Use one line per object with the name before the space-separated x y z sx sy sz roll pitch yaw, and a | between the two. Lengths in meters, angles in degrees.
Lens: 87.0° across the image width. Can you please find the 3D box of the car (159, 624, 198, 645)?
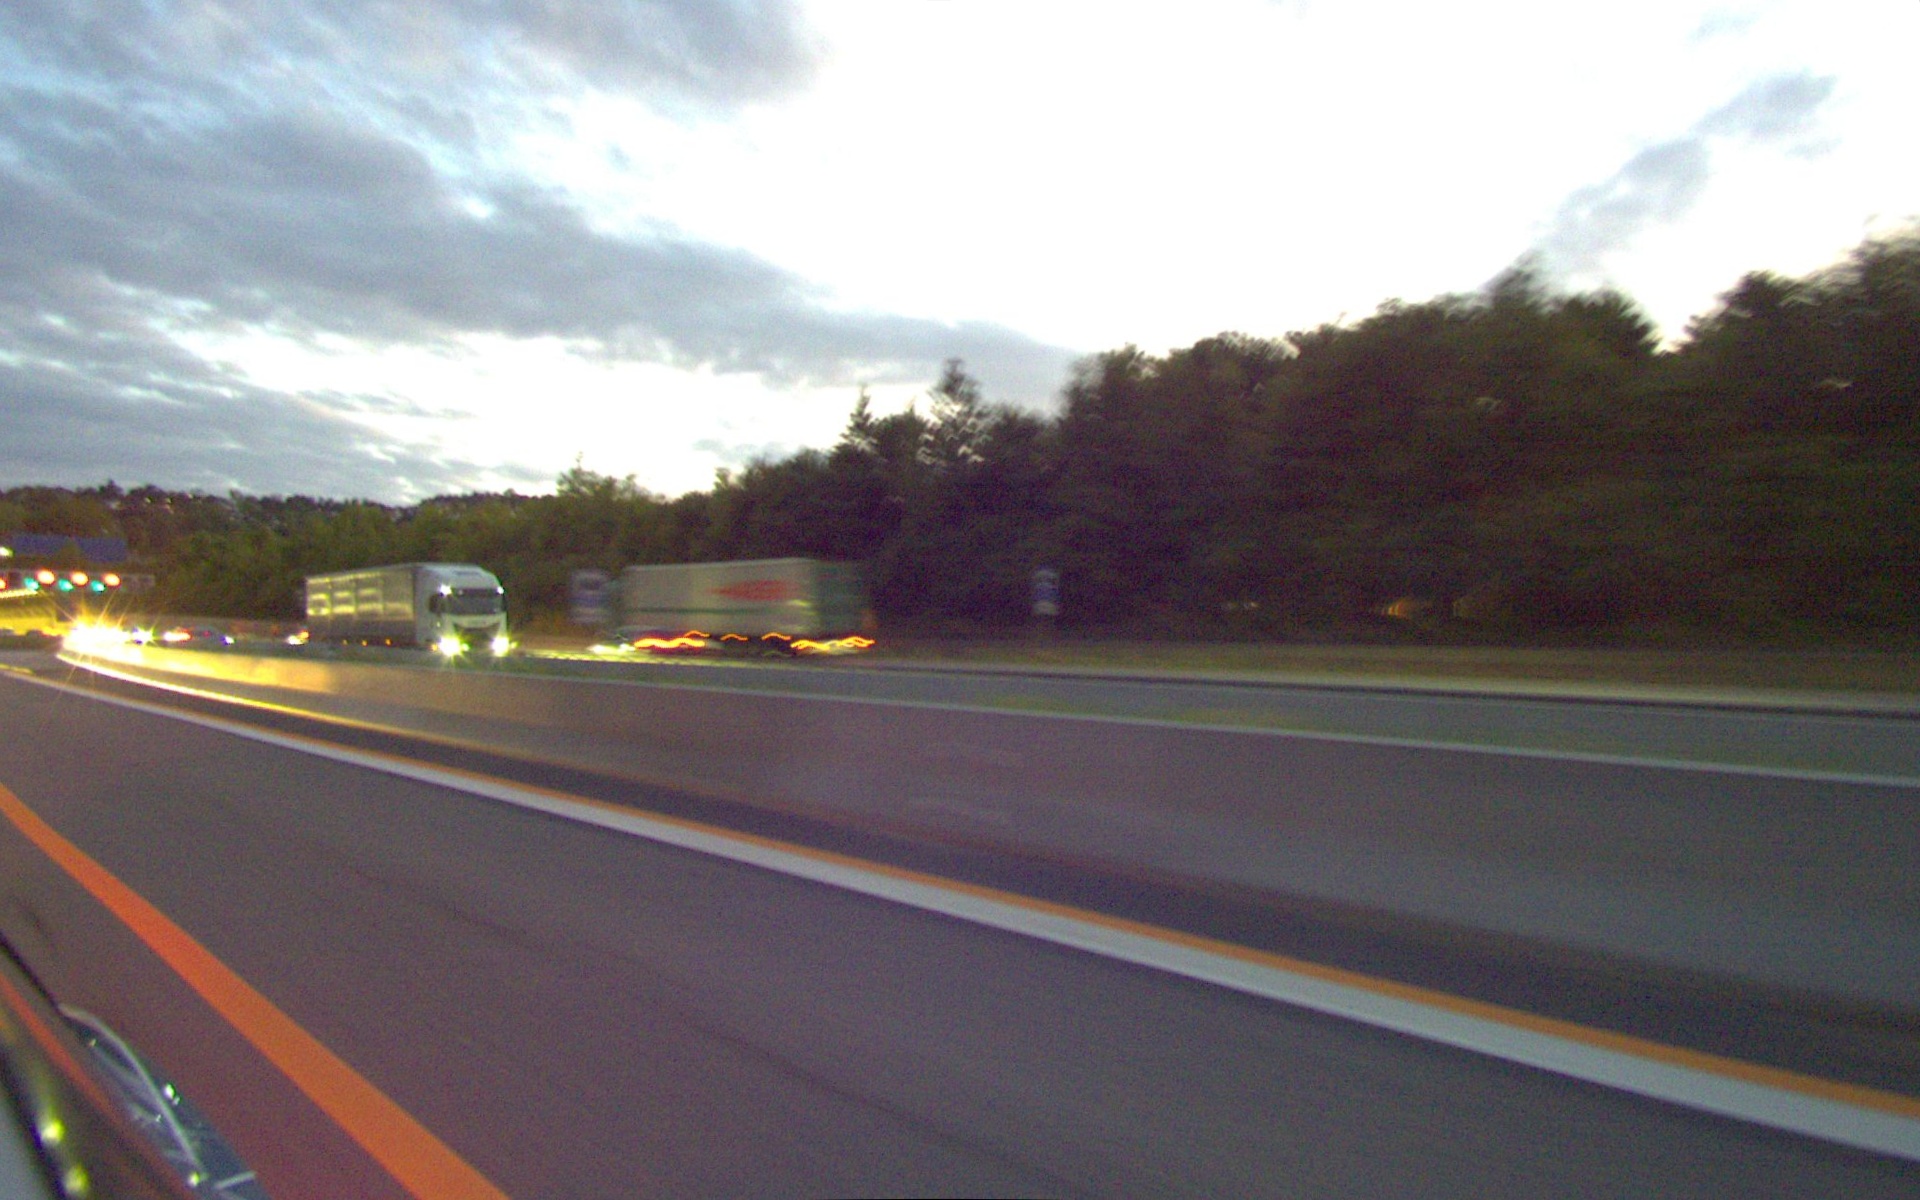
car | -66.468 2.917 86.032 4.889 1.650 1.718 -1 0 42

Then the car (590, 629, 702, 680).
car | -11.697 1.961 37.550 4.516 1.688 1.972 -1 1 43

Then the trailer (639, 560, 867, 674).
trailer | -9.144 0.683 42.898 12.403 4.237 2.748 -1 0 43

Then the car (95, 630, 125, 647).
car | -92.889 4.169 110.539 4.749 1.650 1.785 -1 0 42

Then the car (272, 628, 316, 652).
car | -49.452 2.937 75.134 5.034 1.616 1.574 -1 0 43

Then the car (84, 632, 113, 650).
car | -79.120 3.756 92.953 3.822 1.492 1.490 -1 0 41

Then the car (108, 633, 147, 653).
car | -68.720 3.565 83.519 3.998 1.492 1.769 -1 0 41

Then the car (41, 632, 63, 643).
car | -131.177 5.424 146.127 4.699 1.496 1.792 -1 0 41

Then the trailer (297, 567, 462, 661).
trailer | -26.558 0.597 45.866 11.830 3.811 2.770 -1 0 41

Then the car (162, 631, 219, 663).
car | -51.658 3.110 67.901 4.698 1.898 2.069 -1 0 41

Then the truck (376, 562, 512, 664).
truck | -20.868 0.501 40.765 6.301 3.803 2.773 -1 0 42

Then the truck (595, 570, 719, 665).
truck | -14.403 0.767 47.888 6.386 4.202 2.747 -1 0 43
